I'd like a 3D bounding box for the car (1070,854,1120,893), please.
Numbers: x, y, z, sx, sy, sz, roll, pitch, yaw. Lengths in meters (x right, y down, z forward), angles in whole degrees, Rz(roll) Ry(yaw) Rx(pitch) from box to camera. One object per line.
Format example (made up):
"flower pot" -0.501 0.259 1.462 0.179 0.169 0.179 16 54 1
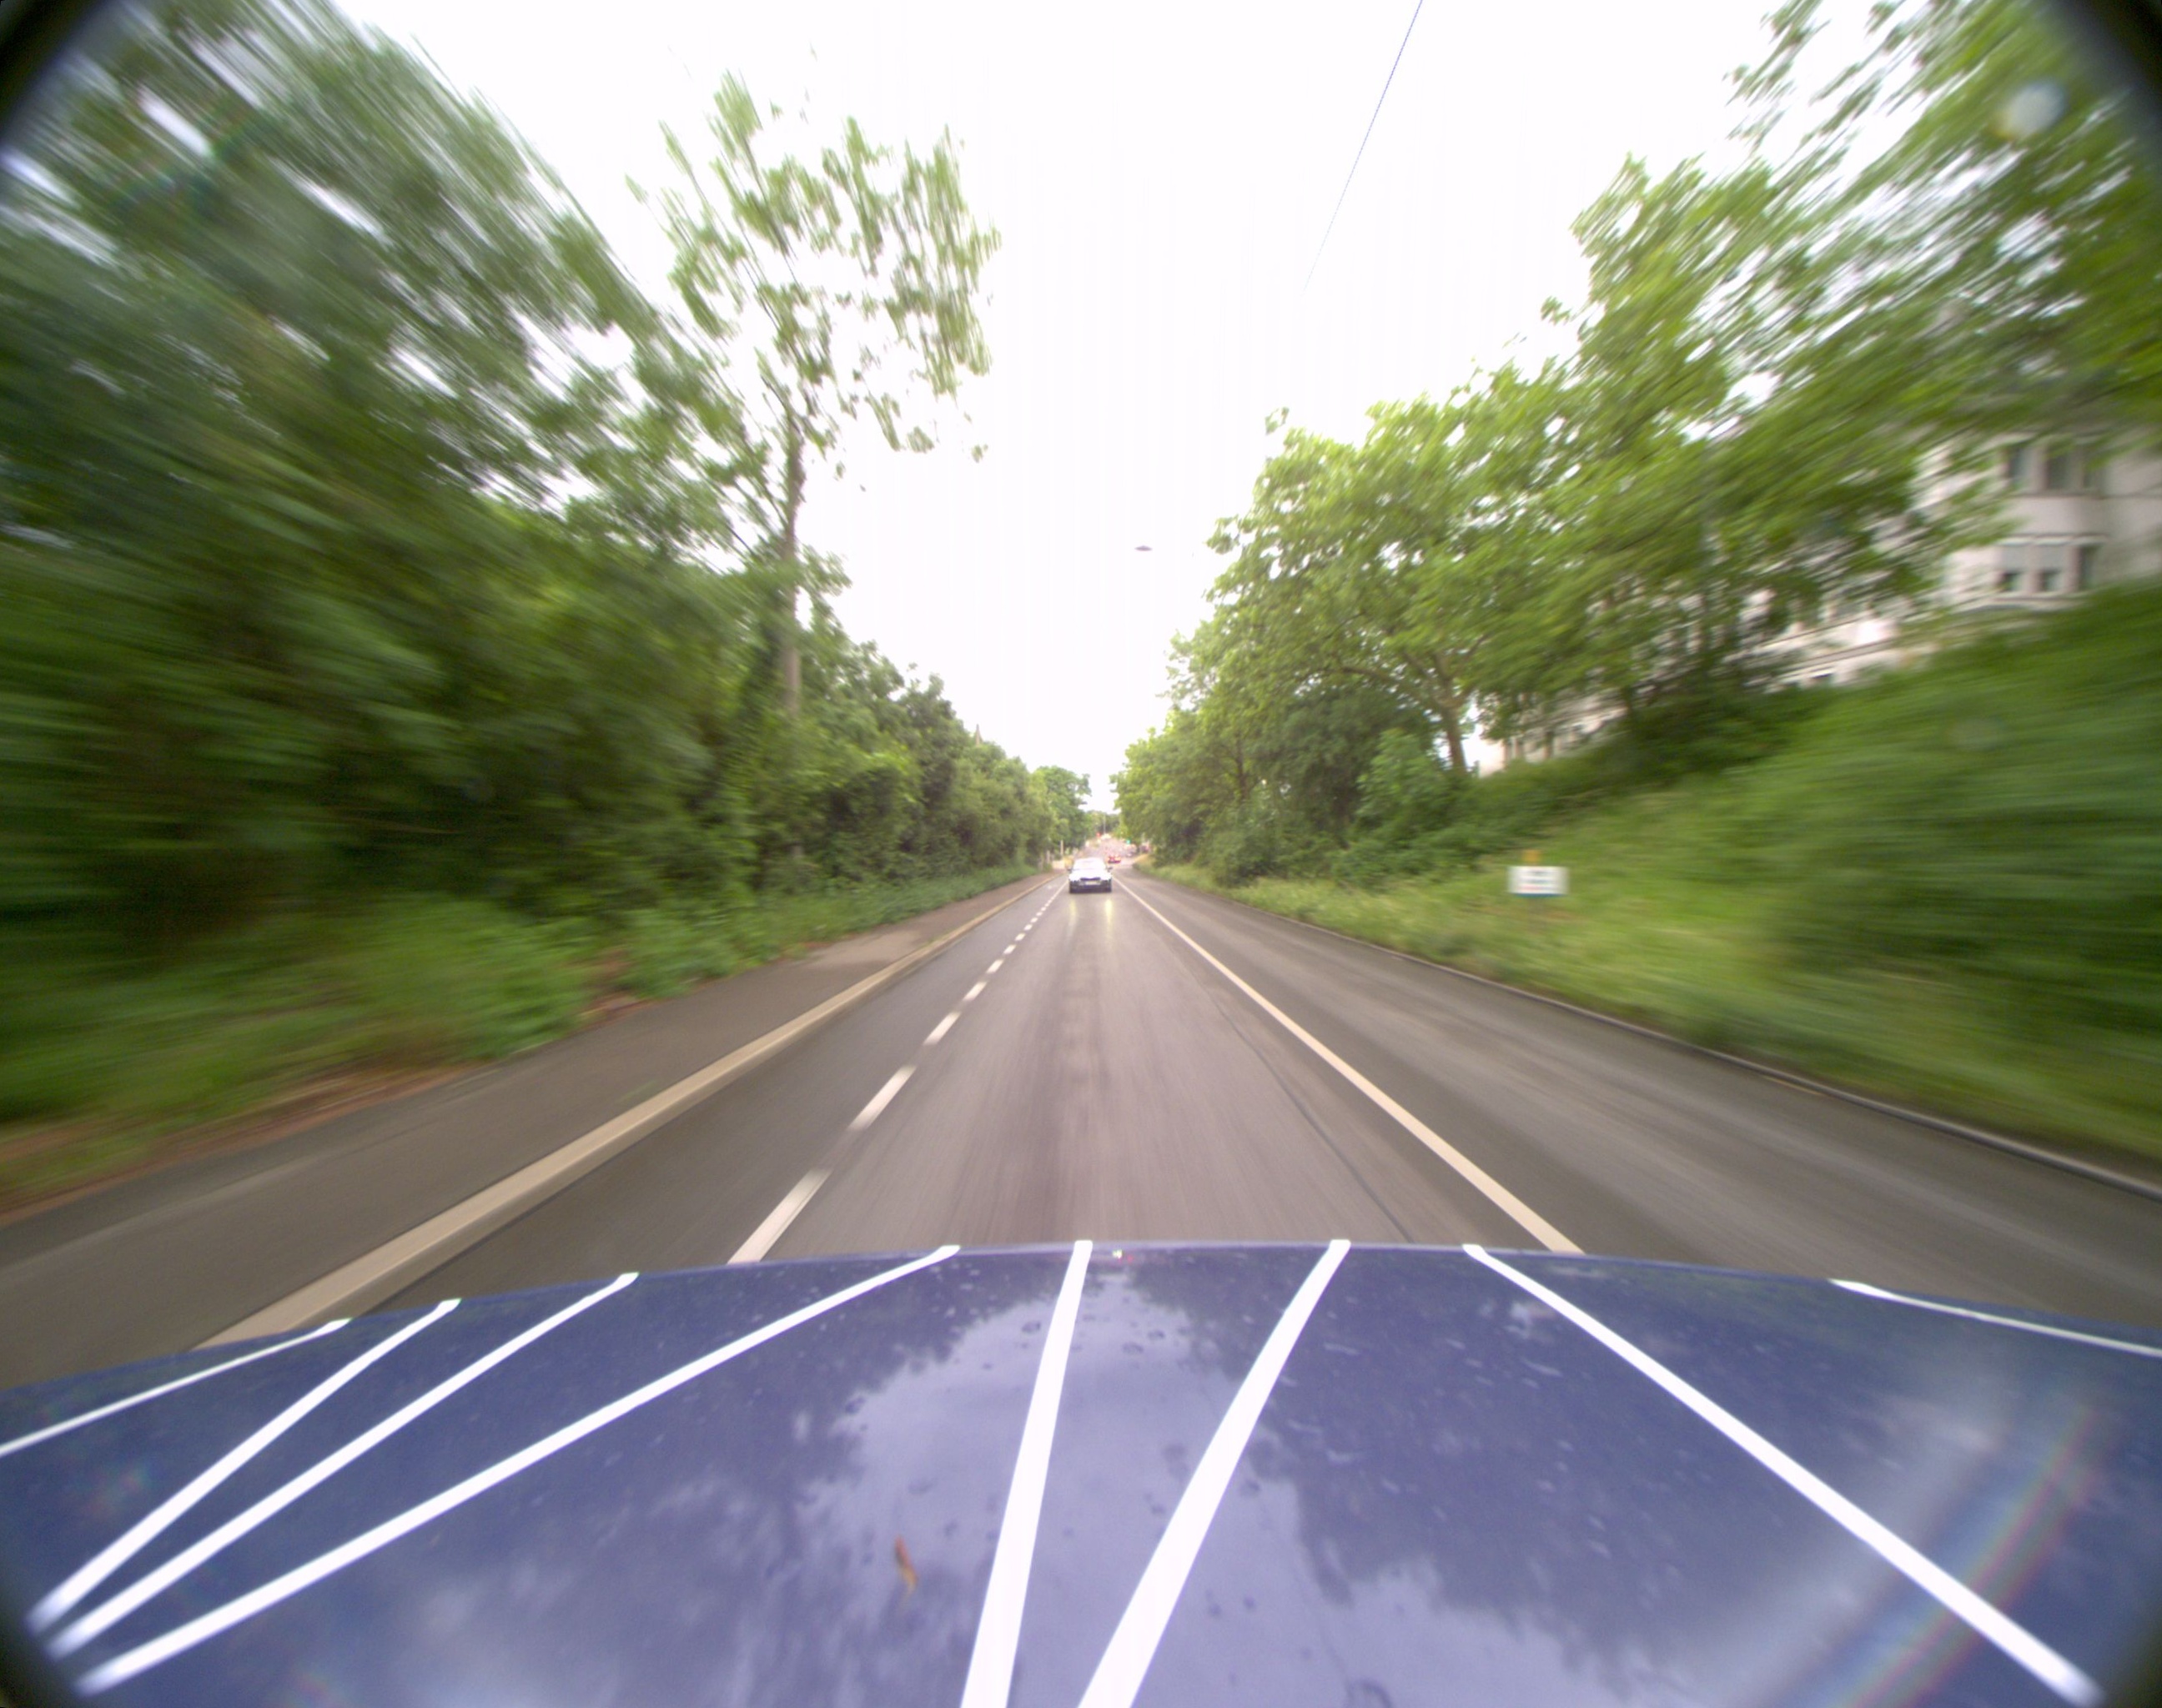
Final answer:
"car" 0.594 0.799 32.921 1.981 1.497 4.000 -2 0 0

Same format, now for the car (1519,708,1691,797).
"car" 15.001 -2.830 22.050 1.999 2.002 3.998 -2 1 -5

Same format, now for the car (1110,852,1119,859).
"car" 7.489 0.420 170.784 1.981 1.497 4.000 -2 0 0
